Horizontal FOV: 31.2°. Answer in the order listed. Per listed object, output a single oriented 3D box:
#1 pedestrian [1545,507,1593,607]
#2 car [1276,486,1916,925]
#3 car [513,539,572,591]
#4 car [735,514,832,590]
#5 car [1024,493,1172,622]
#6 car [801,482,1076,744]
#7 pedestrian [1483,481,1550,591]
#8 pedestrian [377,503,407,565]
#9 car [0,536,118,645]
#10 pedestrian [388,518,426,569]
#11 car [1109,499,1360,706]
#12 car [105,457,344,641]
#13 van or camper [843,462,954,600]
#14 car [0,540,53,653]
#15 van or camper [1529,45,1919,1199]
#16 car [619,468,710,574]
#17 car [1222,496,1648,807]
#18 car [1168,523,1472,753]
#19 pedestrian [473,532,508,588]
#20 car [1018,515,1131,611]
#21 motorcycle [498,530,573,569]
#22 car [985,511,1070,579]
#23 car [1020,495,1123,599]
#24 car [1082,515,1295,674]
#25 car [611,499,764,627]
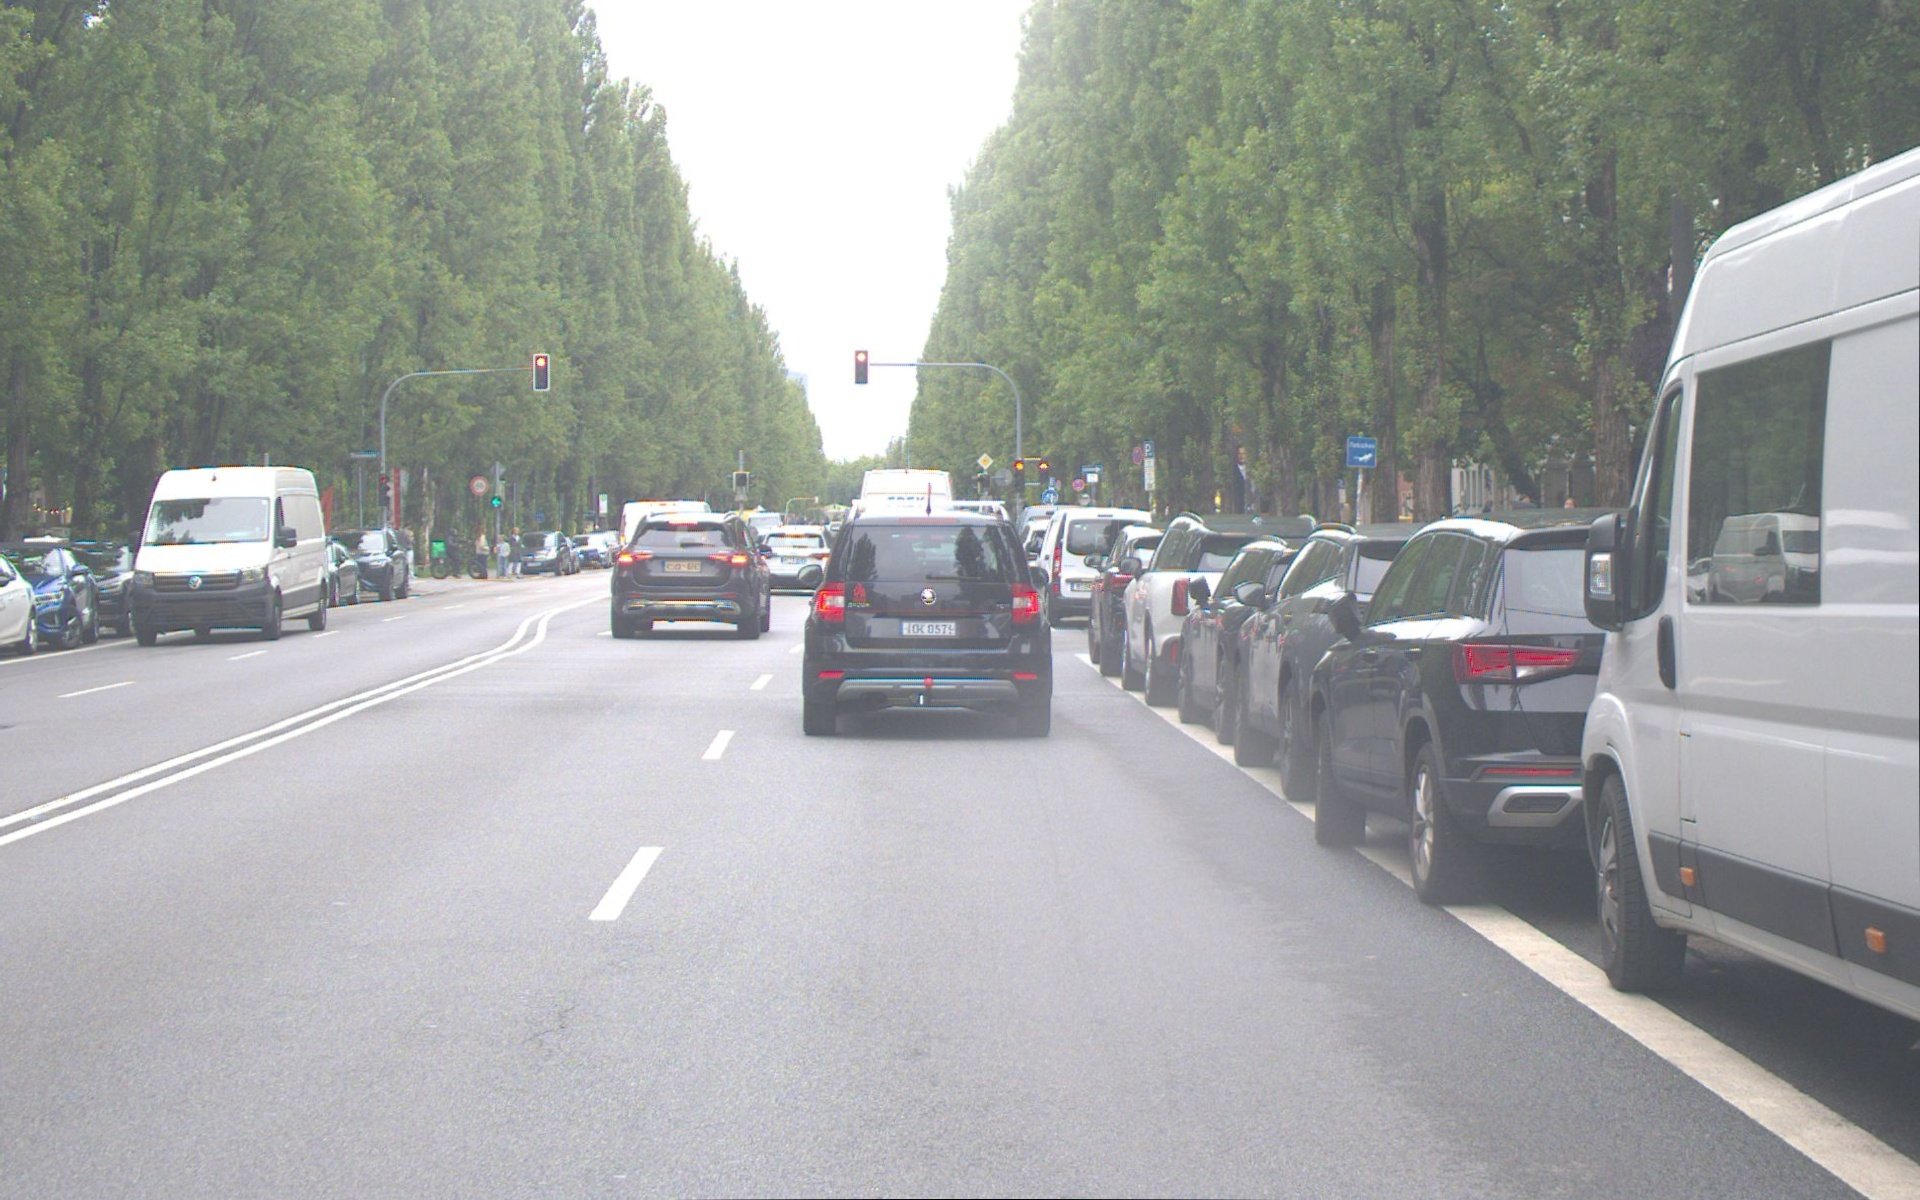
[{"bbox_3d":[9.661,-0.689,54.551,0.567,1.573,0.867,-1,1,-1],"label":"pedestrian"},{"bbox_3d":[2.613,0.336,15.201,1.784,1.643,4.418,-1,2,-3],"label":"car"},{"bbox_3d":[-14.812,-1.249,122.054,1.688,1.776,3.775,-1,2,-1],"label":"car"},{"bbox_3d":[-3.774,-1.053,73.974,1.993,1.555,4.001,-1,2,-2],"label":"car"},{"bbox_3d":[2.051,-0.677,52.294,1.851,1.875,4.169,-1,2,-3],"label":"car"},{"bbox_3d":[-0.177,0.047,25.746,1.855,1.764,4.000,1,1,-1],"label":"car"},{"bbox_3d":[8.807,-1.012,54.392,0.853,1.711,0.867,-2,1,-1],"label":"pedestrian"},{"bbox_3d":[-14.543,-1.691,88.065,0.660,1.572,0.530,-1,1,0],"label":"pedestrian"},{"bbox_3d":[-13.357,-0.142,49.373,1.709,1.446,3.586,-3,1,-2],"label":"car"},{"bbox_3d":[-18.070,-1.850,112.361,0.880,1.649,0.878,-2,2,-38],"label":"pedestrian"},{"bbox_3d":[2.337,-0.046,30.270,1.742,1.669,4.580,-1,2,-1],"label":"car"},{"bbox_3d":[-10.845,-0.793,51.254,2.227,2.474,6.759,-2,1,-2],"label":"car"},{"bbox_3d":[-1.212,-1.333,65.855,1.975,2.539,4.025,-1,1,-3],"label":"van or camper"},{"bbox_3d":[-13.320,-0.017,45.184,1.770,1.447,4.234,-3,1,-2],"label":"car"},{"bbox_3d":[3.127,0.027,8.869,2.138,2.531,6.418,0,1,-1],"label":"van or camper"},{"bbox_3d":[-6.073,-1.651,70.938,1.781,2.104,4.026,-1,2,-4],"label":"car"},{"bbox_3d":[2.667,0.205,20.315,1.784,1.612,4.638,-1,2,-1],"label":"car"},{"bbox_3d":[2.559,0.209,25.344,1.702,1.514,4.295,-1,2,-1],"label":"car"},{"bbox_3d":[-15.072,-1.293,110.291,0.963,1.761,0.682,-1,1,-22],"label":"pedestrian"},{"bbox_3d":[1.952,-0.673,59.742,1.741,1.587,4.212,-1,2,-1],"label":"car"},{"bbox_3d":[-14.035,-1.672,113.663,2.363,1.265,0.930,0,1,0],"label":"motorcycle"},{"bbox_3d":[1.478,-1.240,76.380,1.735,1.470,3.563,-1,2,-1],"label":"car"},{"bbox_3d":[2.074,-1.029,65.012,1.735,1.888,4.025,-1,2,-1],"label":"car"},{"bbox_3d":[2.323,-0.111,35.950,1.880,1.535,4.464,-1,2,0],"label":"car"},{"bbox_3d":[-3.572,-0.524,45.627,1.781,1.614,4.025,0,2,-1],"label":"car"}]
